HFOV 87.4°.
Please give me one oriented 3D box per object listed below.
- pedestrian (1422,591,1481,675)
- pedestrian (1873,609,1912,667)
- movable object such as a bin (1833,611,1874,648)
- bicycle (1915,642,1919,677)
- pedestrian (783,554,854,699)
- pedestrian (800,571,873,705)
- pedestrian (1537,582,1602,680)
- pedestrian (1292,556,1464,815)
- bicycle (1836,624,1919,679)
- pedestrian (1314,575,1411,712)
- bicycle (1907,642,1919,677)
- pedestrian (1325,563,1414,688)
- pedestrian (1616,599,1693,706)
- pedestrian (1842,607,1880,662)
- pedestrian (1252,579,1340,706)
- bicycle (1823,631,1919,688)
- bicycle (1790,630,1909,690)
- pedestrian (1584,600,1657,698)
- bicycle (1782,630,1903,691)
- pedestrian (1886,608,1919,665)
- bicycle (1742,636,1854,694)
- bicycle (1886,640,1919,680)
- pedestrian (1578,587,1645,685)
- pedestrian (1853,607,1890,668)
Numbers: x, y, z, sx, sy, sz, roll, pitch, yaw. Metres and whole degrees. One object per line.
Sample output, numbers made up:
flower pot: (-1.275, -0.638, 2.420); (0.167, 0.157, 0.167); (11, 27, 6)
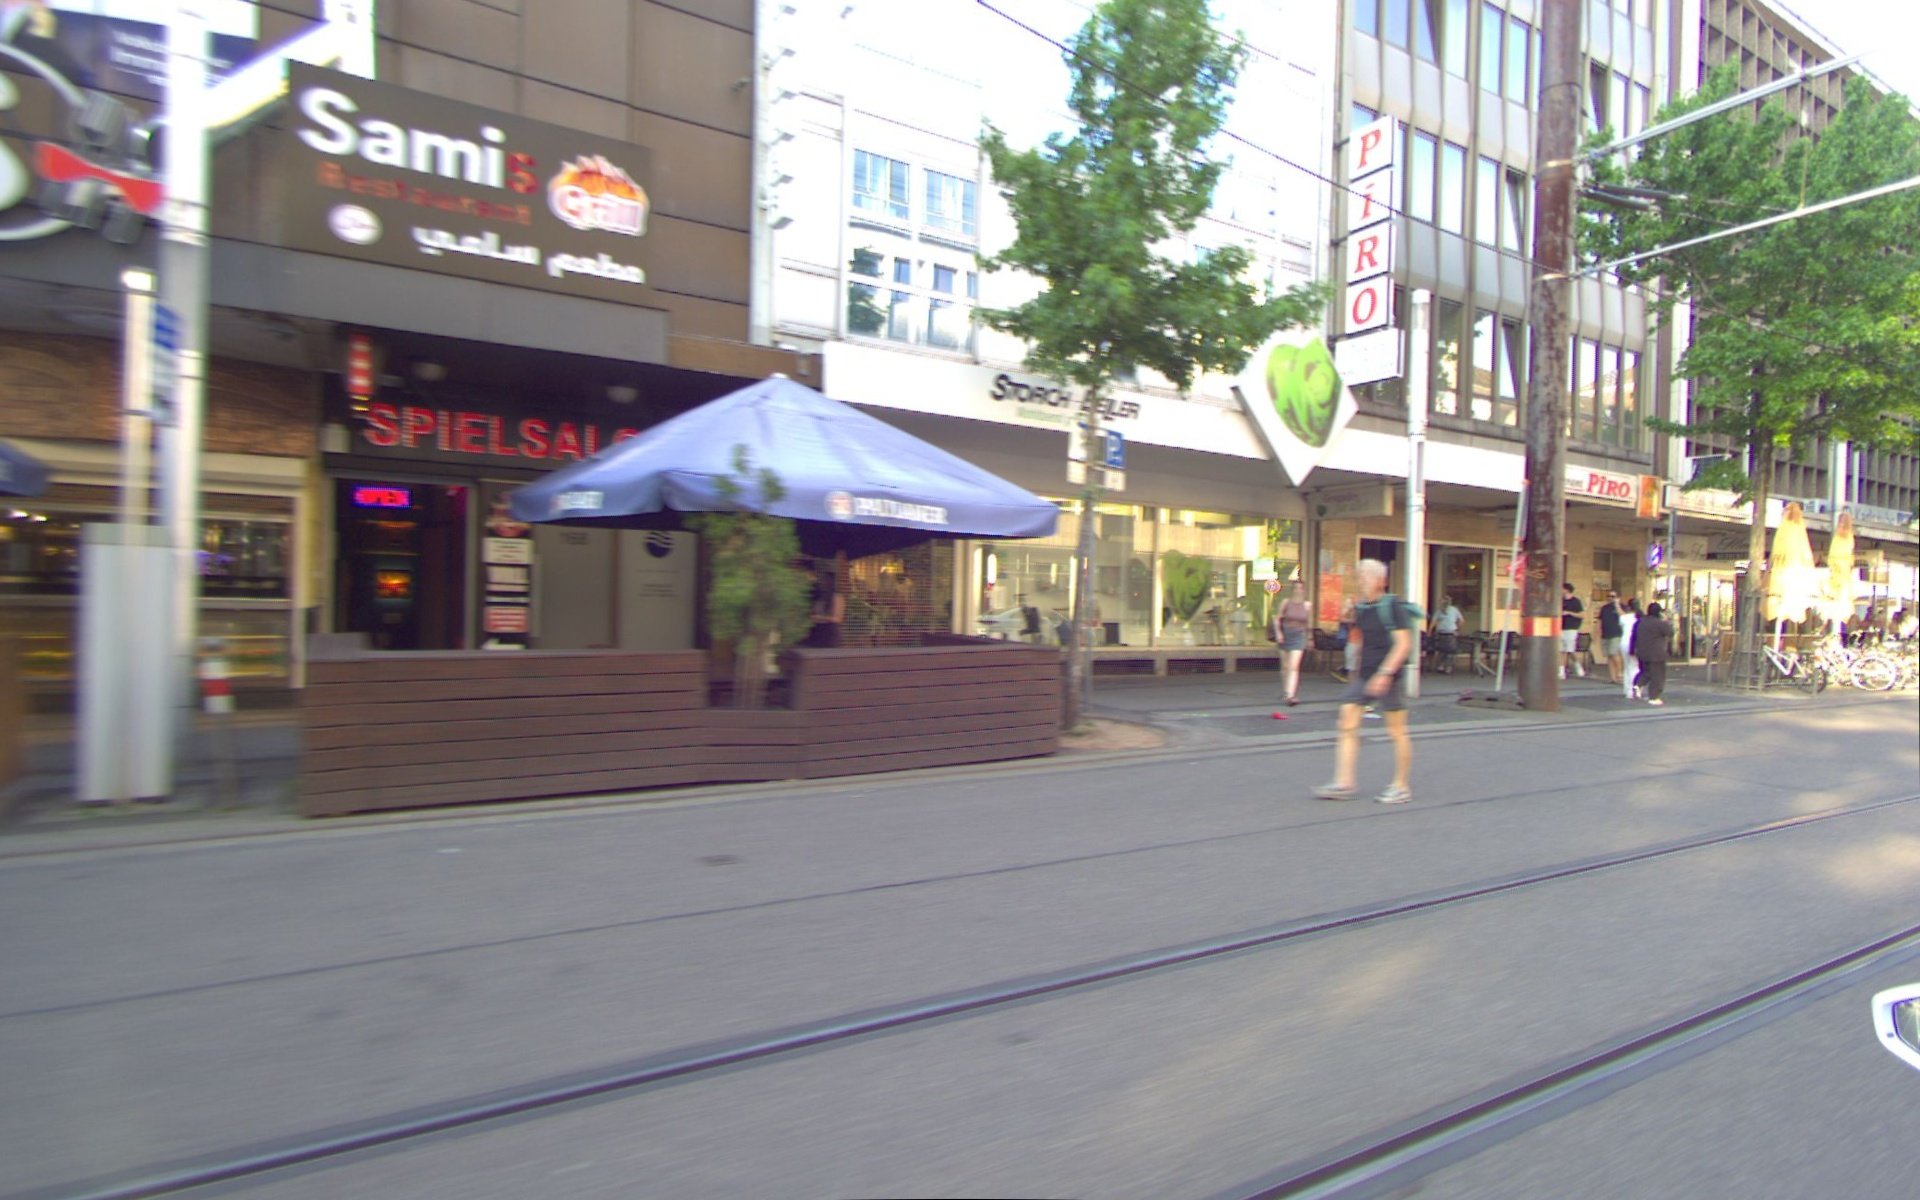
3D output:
pedestrian: (9.460, 0.624, 19.347); (0.800, 1.546, 0.619); (1, 3, -30)
pedestrian: (26.910, 1.085, 28.991); (0.678, 1.661, 0.709); (1, 0, -36)
movable object such as a bin: (25.915, 0.842, 29.129); (0.972, 1.053, 0.709); (1, 0, -37)
bicycle: (24.171, 1.501, 24.306); (0.340, 0.852, 1.486); (1, 1, -29)
pedestrian: (-1.786, 0.320, 12.639); (0.663, 1.769, 0.594); (1, 2, -30)
pedestrian: (-1.492, 0.442, 12.135); (0.663, 1.553, 0.594); (1, 2, -30)
pedestrian: (11.874, 0.594, 19.569); (0.922, 1.828, 0.619); (1, 3, -30)
pedestrian: (3.154, 0.596, 7.624); (0.781, 1.825, 0.837); (1, 2, -29)
bicycle: (21.386, 1.186, 23.096); (0.372, 1.156, 1.838); (1, 1, -29)
pedestrian: (5.371, 0.560, 13.447); (0.820, 1.764, 0.850); (2, 2, -11)
bicycle: (23.831, 1.480, 24.164); (0.340, 0.852, 1.486); (1, 1, -29)
pedestrian: (6.698, 0.399, 16.431); (1.060, 1.949, 0.795); (0, 3, -34)
pedestrian: (10.788, 0.799, 15.604); (0.842, 1.571, 0.619); (1, 3, -30)
pedestrian: (26.574, 1.007, 29.626); (0.678, 1.568, 0.709); (1, 0, -36)
pedestrian: (4.558, 0.555, 13.672); (0.748, 1.660, 0.850); (2, 2, -10)
bicycle: (19.514, 1.249, 21.241); (0.373, 1.092, 1.834); (1, 2, -34)
bicycle: (18.358, 1.213, 20.779); (0.373, 1.092, 1.777); (1, 2, -34)
pedestrian: (10.818, 0.791, 16.461); (0.823, 1.529, 0.619); (1, 3, -30)
bicycle: (17.988, 1.201, 20.520); (0.373, 1.092, 1.777); (1, 2, -34)
pedestrian: (30.255, 1.164, 32.168); (0.775, 1.790, 0.536); (1, 0, 35)
bicycle: (15.750, 1.208, 18.925); (0.372, 0.943, 1.591); (1, 1, -23)
bicycle: (22.719, 1.427, 23.496); (0.341, 0.888, 1.482); (1, 2, -36)
pedestrian: (12.230, 0.672, 18.858); (0.922, 1.771, 0.619); (1, 3, -30)
pedestrian: (27.548, 1.130, 30.362); (0.704, 1.790, 0.682); (1, 0, 35)
